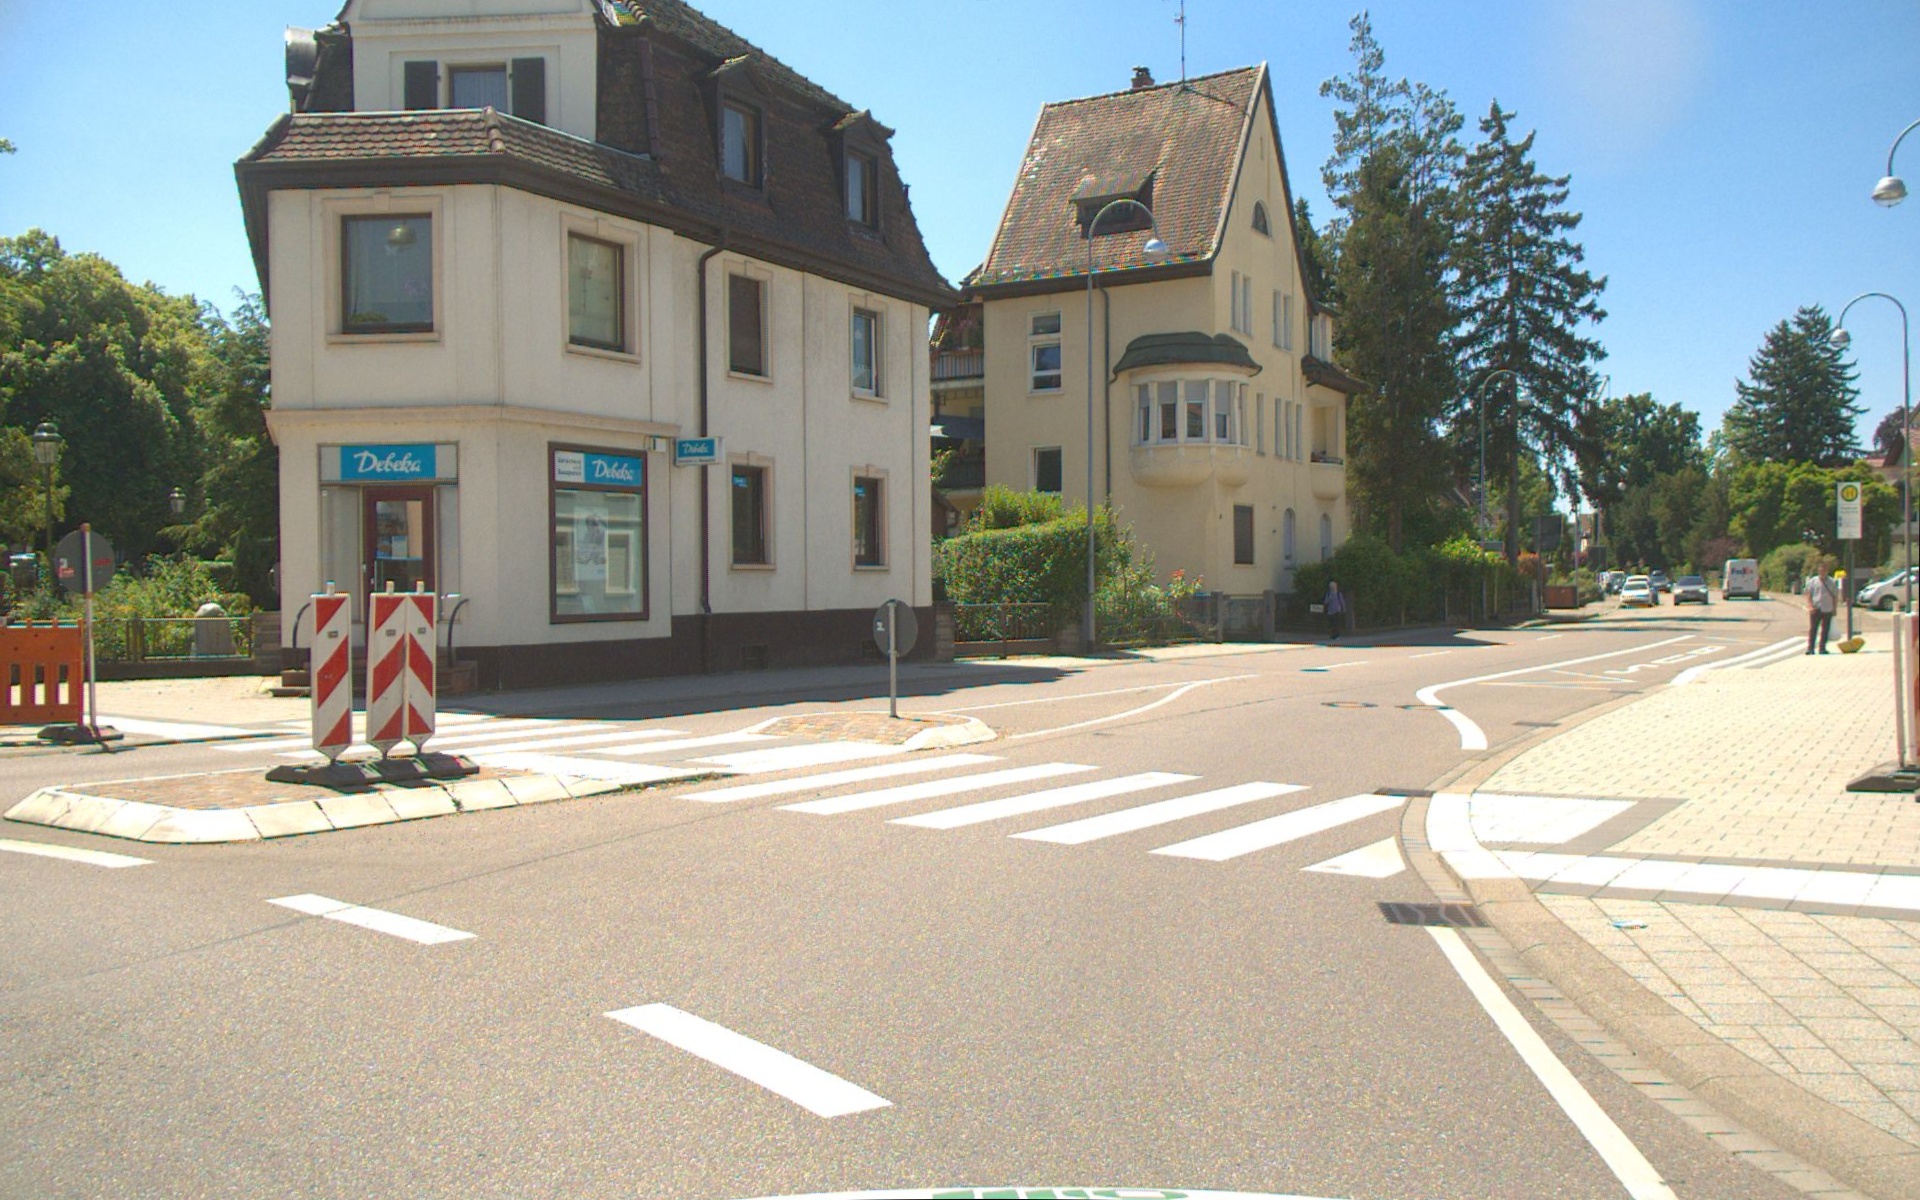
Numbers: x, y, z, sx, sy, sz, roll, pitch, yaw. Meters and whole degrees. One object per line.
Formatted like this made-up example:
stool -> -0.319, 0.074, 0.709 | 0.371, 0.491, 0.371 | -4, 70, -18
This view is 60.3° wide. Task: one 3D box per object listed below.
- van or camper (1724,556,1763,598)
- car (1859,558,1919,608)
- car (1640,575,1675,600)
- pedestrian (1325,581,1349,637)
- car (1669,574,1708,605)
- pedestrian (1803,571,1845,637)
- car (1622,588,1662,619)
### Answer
van or camper -> 50.567, -1.491, 106.831 | 2.161, 2.656, 3.998 | 0, 0, 24
car -> 39.626, -0.722, 68.505 | 3.904, 2.049, 2.001 | 0, 1, 20
car -> 58.851, -1.062, 139.626 | 1.951, 2.049, 4.004 | 0, 0, 11
pedestrian -> 10.382, 0.249, 45.579 | 0.513, 1.535, 0.472 | 0, 0, 32
car -> 42.163, -0.611, 95.661 | 1.954, 1.747, 3.997 | 0, 0, 25
pedestrian -> 18.064, 0.082, 34.577 | 0.655, 1.308, 0.585 | -4, -1, 33
car -> 38.920, 0.181, 94.323 | 1.954, 1.680, 3.998 | 0, 0, 24
